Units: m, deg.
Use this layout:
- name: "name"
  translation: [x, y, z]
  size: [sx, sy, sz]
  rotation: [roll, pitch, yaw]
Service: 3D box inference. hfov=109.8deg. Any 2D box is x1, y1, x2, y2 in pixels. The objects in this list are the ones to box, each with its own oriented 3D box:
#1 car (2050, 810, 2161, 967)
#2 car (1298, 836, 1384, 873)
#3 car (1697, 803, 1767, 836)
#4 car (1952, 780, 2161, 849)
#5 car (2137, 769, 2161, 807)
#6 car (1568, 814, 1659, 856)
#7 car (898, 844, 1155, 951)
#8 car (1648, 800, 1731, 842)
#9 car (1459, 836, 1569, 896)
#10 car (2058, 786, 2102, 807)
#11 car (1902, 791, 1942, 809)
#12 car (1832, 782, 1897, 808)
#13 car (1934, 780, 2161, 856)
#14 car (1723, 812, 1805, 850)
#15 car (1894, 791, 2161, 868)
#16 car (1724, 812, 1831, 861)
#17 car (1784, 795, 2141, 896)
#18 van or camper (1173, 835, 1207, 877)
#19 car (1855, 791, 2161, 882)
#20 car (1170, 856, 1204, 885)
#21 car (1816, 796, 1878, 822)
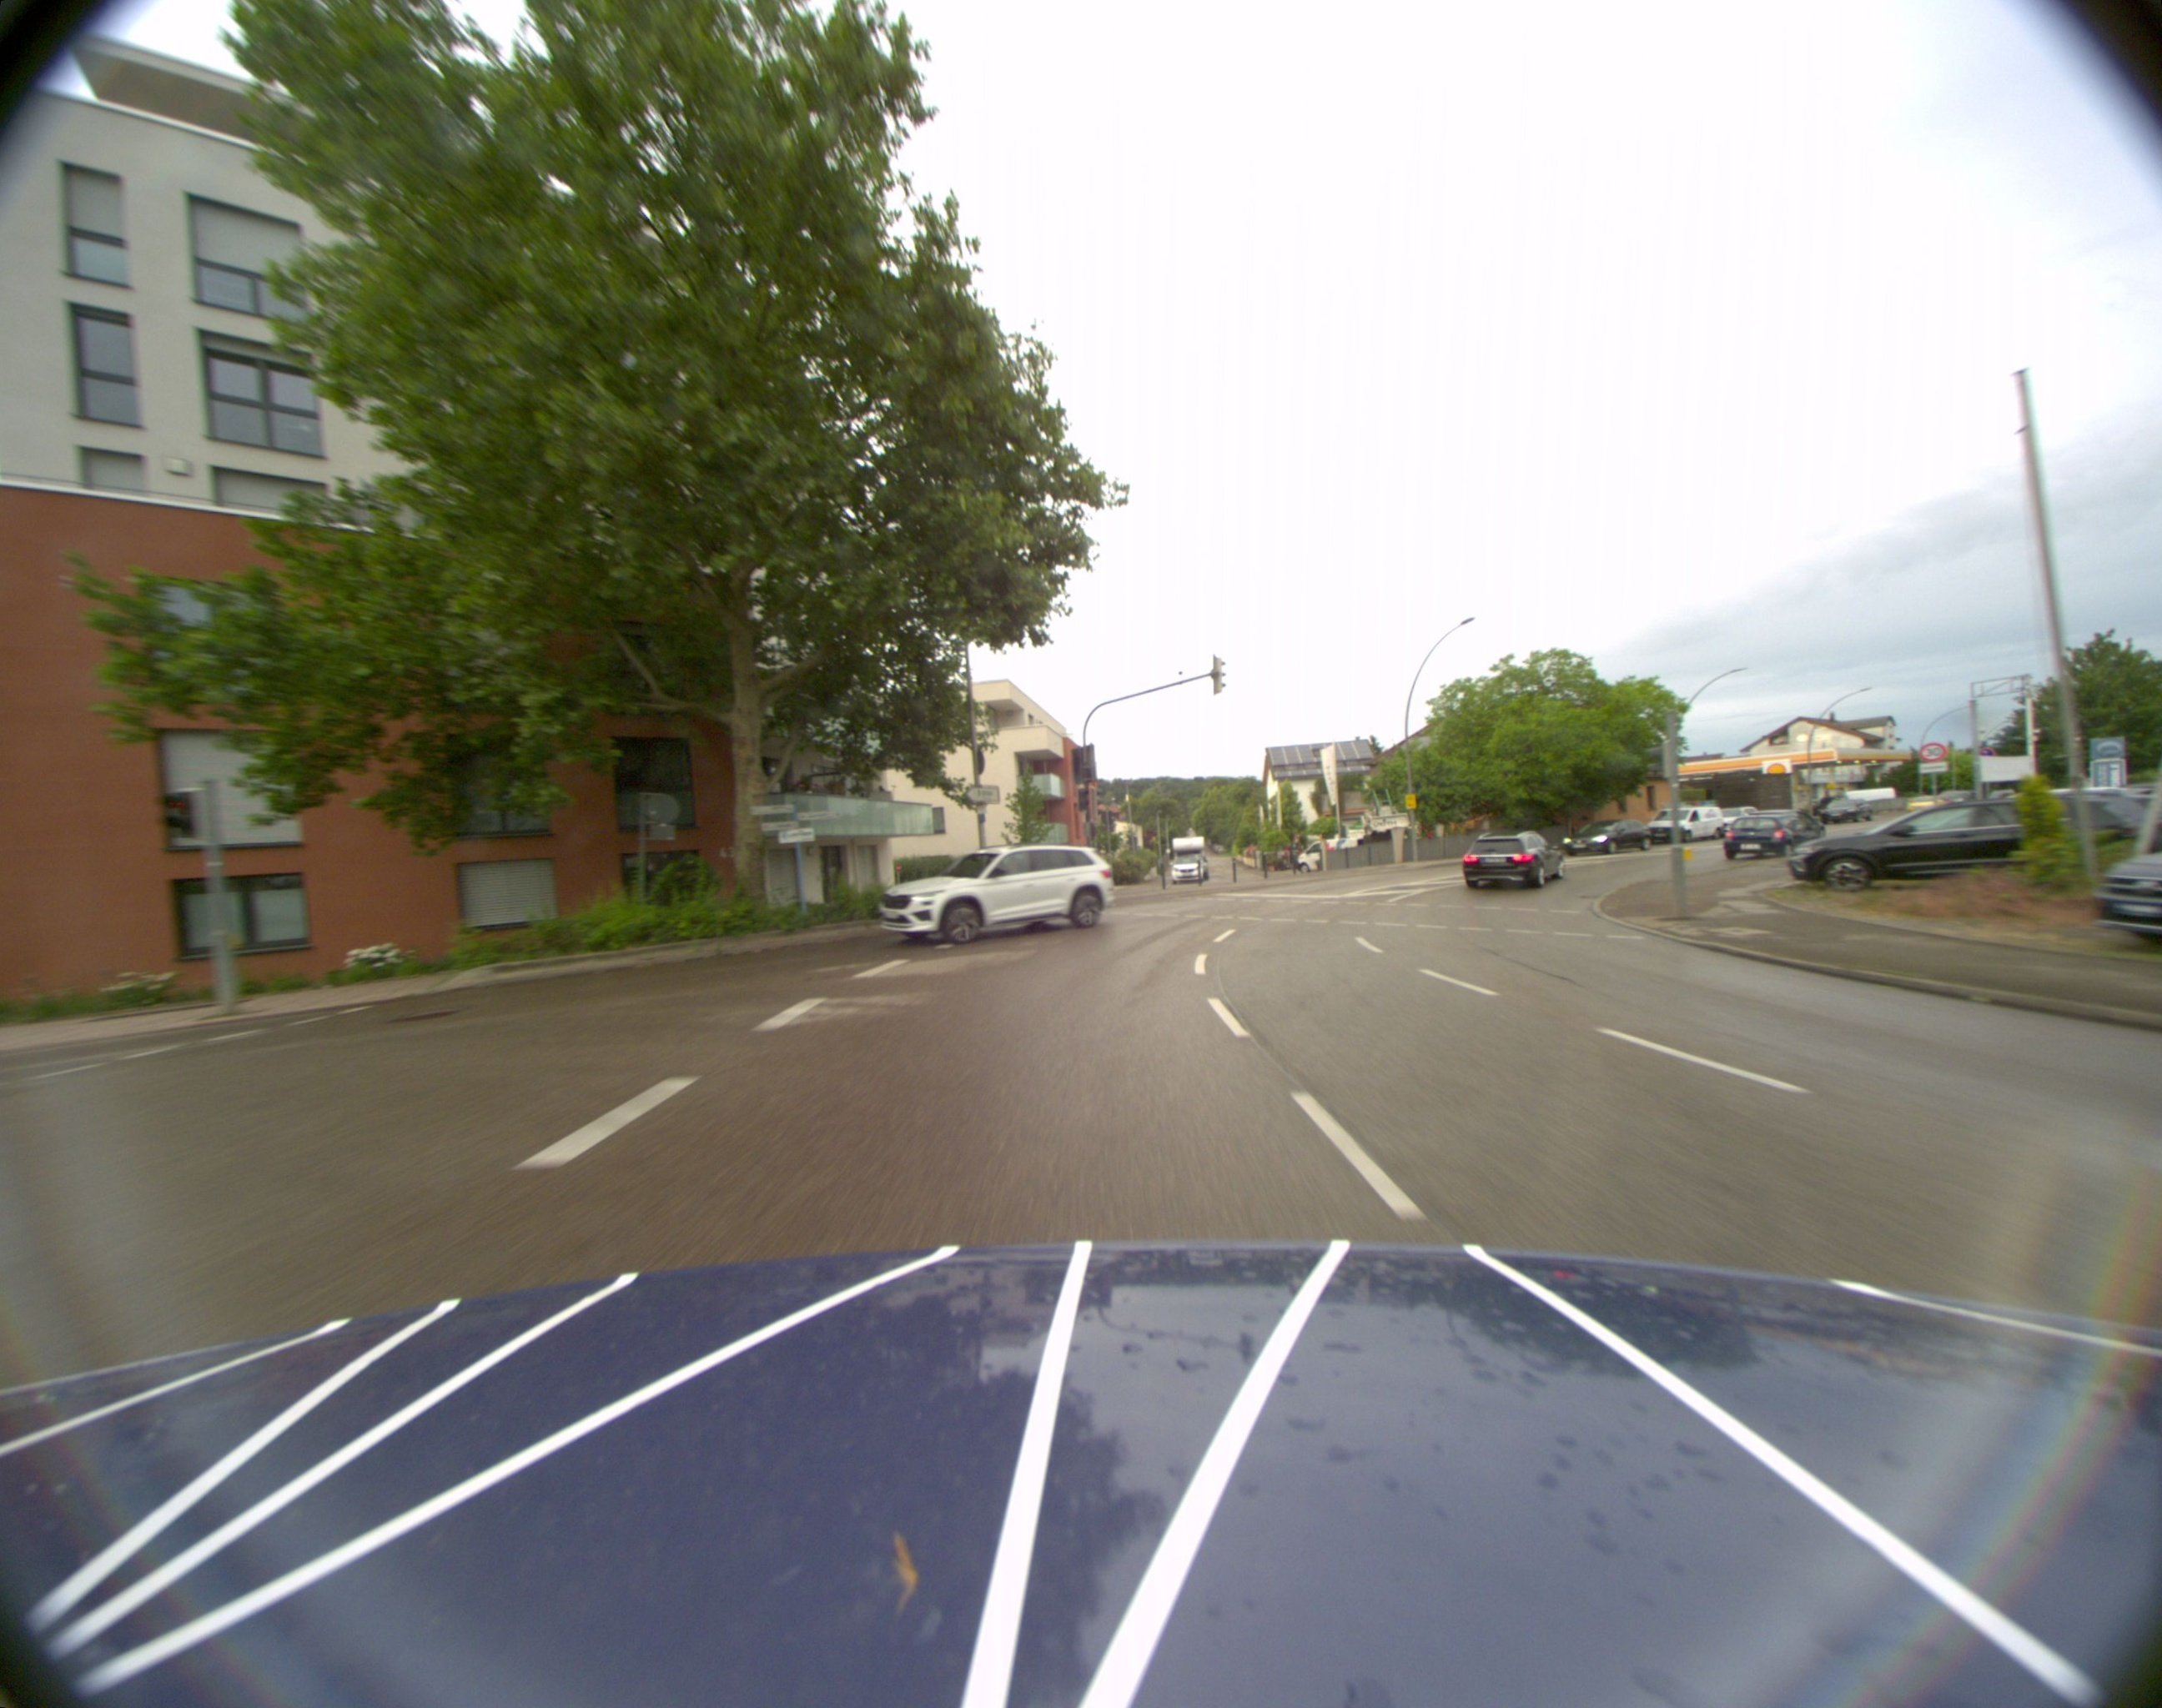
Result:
- name: "car"
  translation: [12.148, 0.268, 6.804]
  size: [3.974, 1.482, 1.759]
  rotation: [-2, 0, 17]
- name: "car"
  translation: [14.446, 0.067, 42.419]
  size: [2.003, 1.859, 4.128]
  rotation: [-3, 0, -30]
- name: "car"
  translation: [38.036, -2.007, 44.389]
  size: [4.326, 1.656, 1.867]
  rotation: [-4, 1, -32]
- name: "car"
  translation: [25.976, -1.017, 19.779]
  size: [1.806, 1.535, 3.992]
  rotation: [-4, 0, -29]
- name: "car"
  translation: [54.225, -3.332, 36.177]
  size: [1.901, 1.780, 4.561]
  rotation: [-5, 2, -36]
- name: "car"
  translation: [22.731, -0.823, 32.403]
  size: [4.006, 1.552, 1.775]
  rotation: [-4, 0, -34]
- name: "car"
  translation: [-0.929, 0.726, 14.998]
  size: [4.839, 1.651, 1.880]
  rotation: [-3, 1, -41]
- name: "car"
  translation: [33.123, -1.817, 41.349]
  size: [4.760, 2.017, 1.780]
  rotation: [-3, 0, -29]
- name: "car"
  translation: [11.934, 0.280, 20.814]
  size: [1.707, 1.384, 4.358]
  rotation: [-1, 1, 42]
- name: "car"
  translation: [71.433, -4.116, 54.306]
  size: [3.602, 1.395, 1.547]
  rotation: [-4, 3, -32]
- name: "car"
  translation: [73.916, -4.740, 66.770]
  size: [3.807, 1.394, 1.658]
  rotation: [-4, 1, -32]
- name: "car"
  translation: [89.452, -6.696, 86.805]
  size: [4.791, 2.506, 2.251]
  rotation: [-3, 1, 37]
- name: "car"
  translation: [23.684, -0.842, 18.201]
  size: [1.806, 1.535, 3.992]
  rotation: [-4, 0, -29]
- name: "car"
  translation: [29.586, -1.009, 32.869]
  size: [4.007, 1.447, 1.725]
  rotation: [-2, -2, -35]
- name: "car"
  translation: [20.958, -0.494, 16.612]
  size: [1.806, 1.432, 3.992]
  rotation: [-4, 0, -29]
- name: "car"
  translation: [23.778, -0.604, 25.909]
  size: [3.688, 1.425, 1.628]
  rotation: [-4, 2, -30]
- name: "car"
  translation: [15.410, -0.086, 13.593]
  size: [1.625, 1.521, 3.949]
  rotation: [-3, 0, -42]
- name: "van or camper"
  translation: [8.584, 0.159, 59.775]
  size: [2.323, 2.977, 5.954]
  rotation: [-4, 0, 9]
- name: "car"
  translation: [18.228, -0.277, 14.889]
  size: [1.694, 1.521, 3.951]
  rotation: [-3, 0, -31]
- name: "car"
  translation: [5.876, 0.872, 42.352]
  size: [1.726, 1.463, 2.745]
  rotation: [-4, 0, 8]
- name: "car"
  translation: [55.596, -3.258, 55.123]
  size: [4.565, 1.652, 2.093]
  rotation: [-3, 0, -31]
